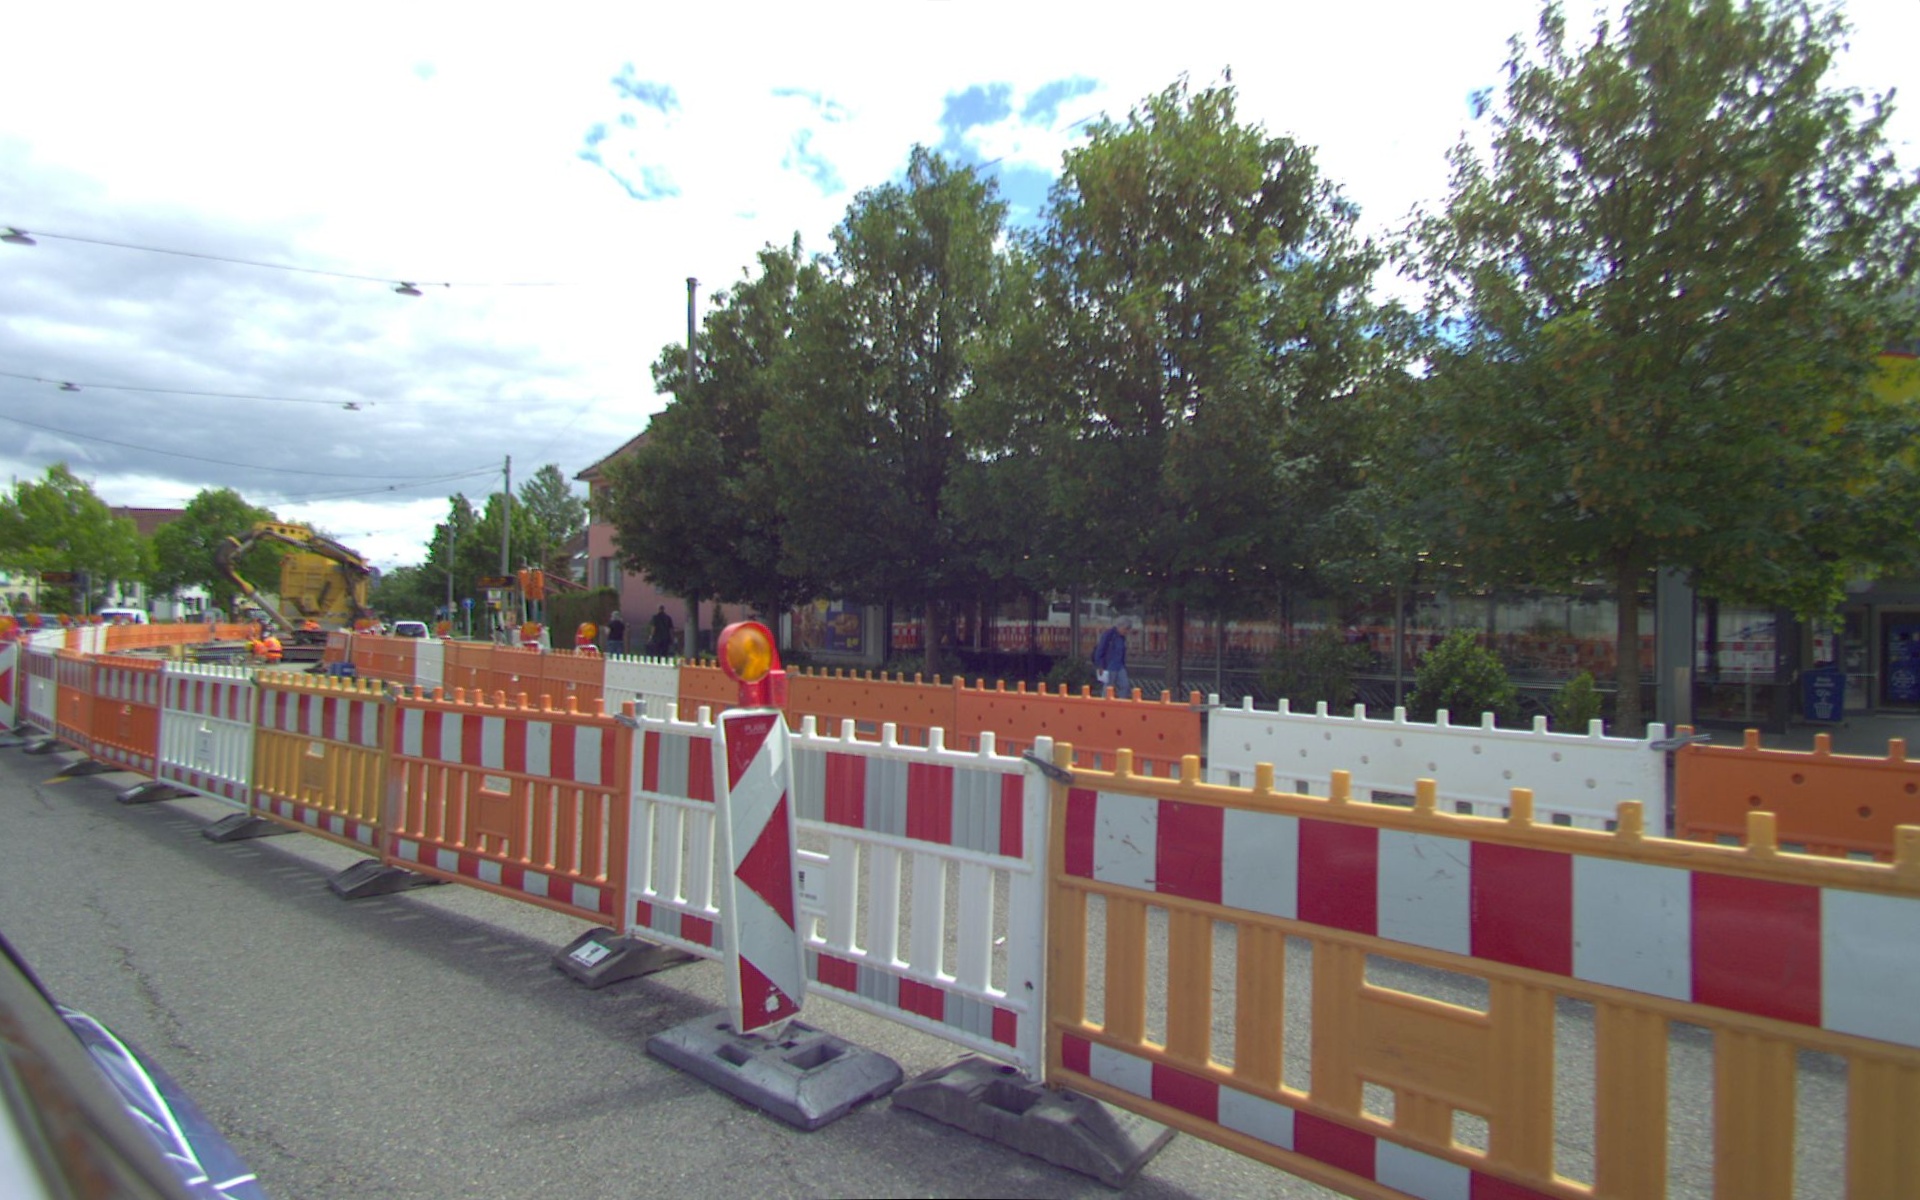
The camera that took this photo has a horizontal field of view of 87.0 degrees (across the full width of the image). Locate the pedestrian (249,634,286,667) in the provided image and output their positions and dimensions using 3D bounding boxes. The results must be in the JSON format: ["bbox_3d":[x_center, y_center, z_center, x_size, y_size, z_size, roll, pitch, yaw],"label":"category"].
[{"bbox_3d":[-21.262,1.540,31.095,0.632,0.998,0.794,1,-2,-8],"label":"pedestrian"}]

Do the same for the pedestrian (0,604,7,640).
[{"bbox_3d":[-43.887,1.025,46.018,0.589,1.594,0.403,-5,3,-28],"label":"pedestrian"}]

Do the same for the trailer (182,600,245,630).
[{"bbox_3d":[-60.198,1.236,81.739,2.556,2.262,5.691,-1,-1,-20],"label":"trailer"}]

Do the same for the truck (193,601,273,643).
[{"bbox_3d":[-63.519,1.975,88.388,6.580,3.223,2.328,-4,-3,19],"label":"truck"}]

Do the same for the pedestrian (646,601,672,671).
[{"bbox_3d":[-8.110,0.961,27.240,0.616,1.861,0.624,1,-2,-18],"label":"pedestrian"}]

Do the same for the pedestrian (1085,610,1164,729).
[{"bbox_3d":[2.319,0.953,14.298,0.829,1.615,0.744,-1,-2,41],"label":"pedestrian"}]

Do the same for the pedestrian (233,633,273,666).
[{"bbox_3d":[-22.144,1.535,31.702,0.779,0.998,0.814,2,-2,-18],"label":"pedestrian"}]

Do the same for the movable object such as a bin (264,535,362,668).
[{"bbox_3d":[-24.121,0.189,37.922,2.555,4.253,11.152,2,-2,-32],"label":"movable object such as a bin"}]

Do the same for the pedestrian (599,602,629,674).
[{"bbox_3d":[-9.146,1.001,26.770,0.685,1.861,0.624,1,-2,-18],"label":"pedestrian"}]

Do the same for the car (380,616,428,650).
[{"bbox_3d":[-25.958,1.510,47.334,1.828,1.464,4.013,0,-1,-27],"label":"car"}]

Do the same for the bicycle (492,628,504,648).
[{"bbox_3d":[-25.241,2.079,55.323,0.530,1.091,2.138,2,-2,-25],"label":"bicycle"}]
